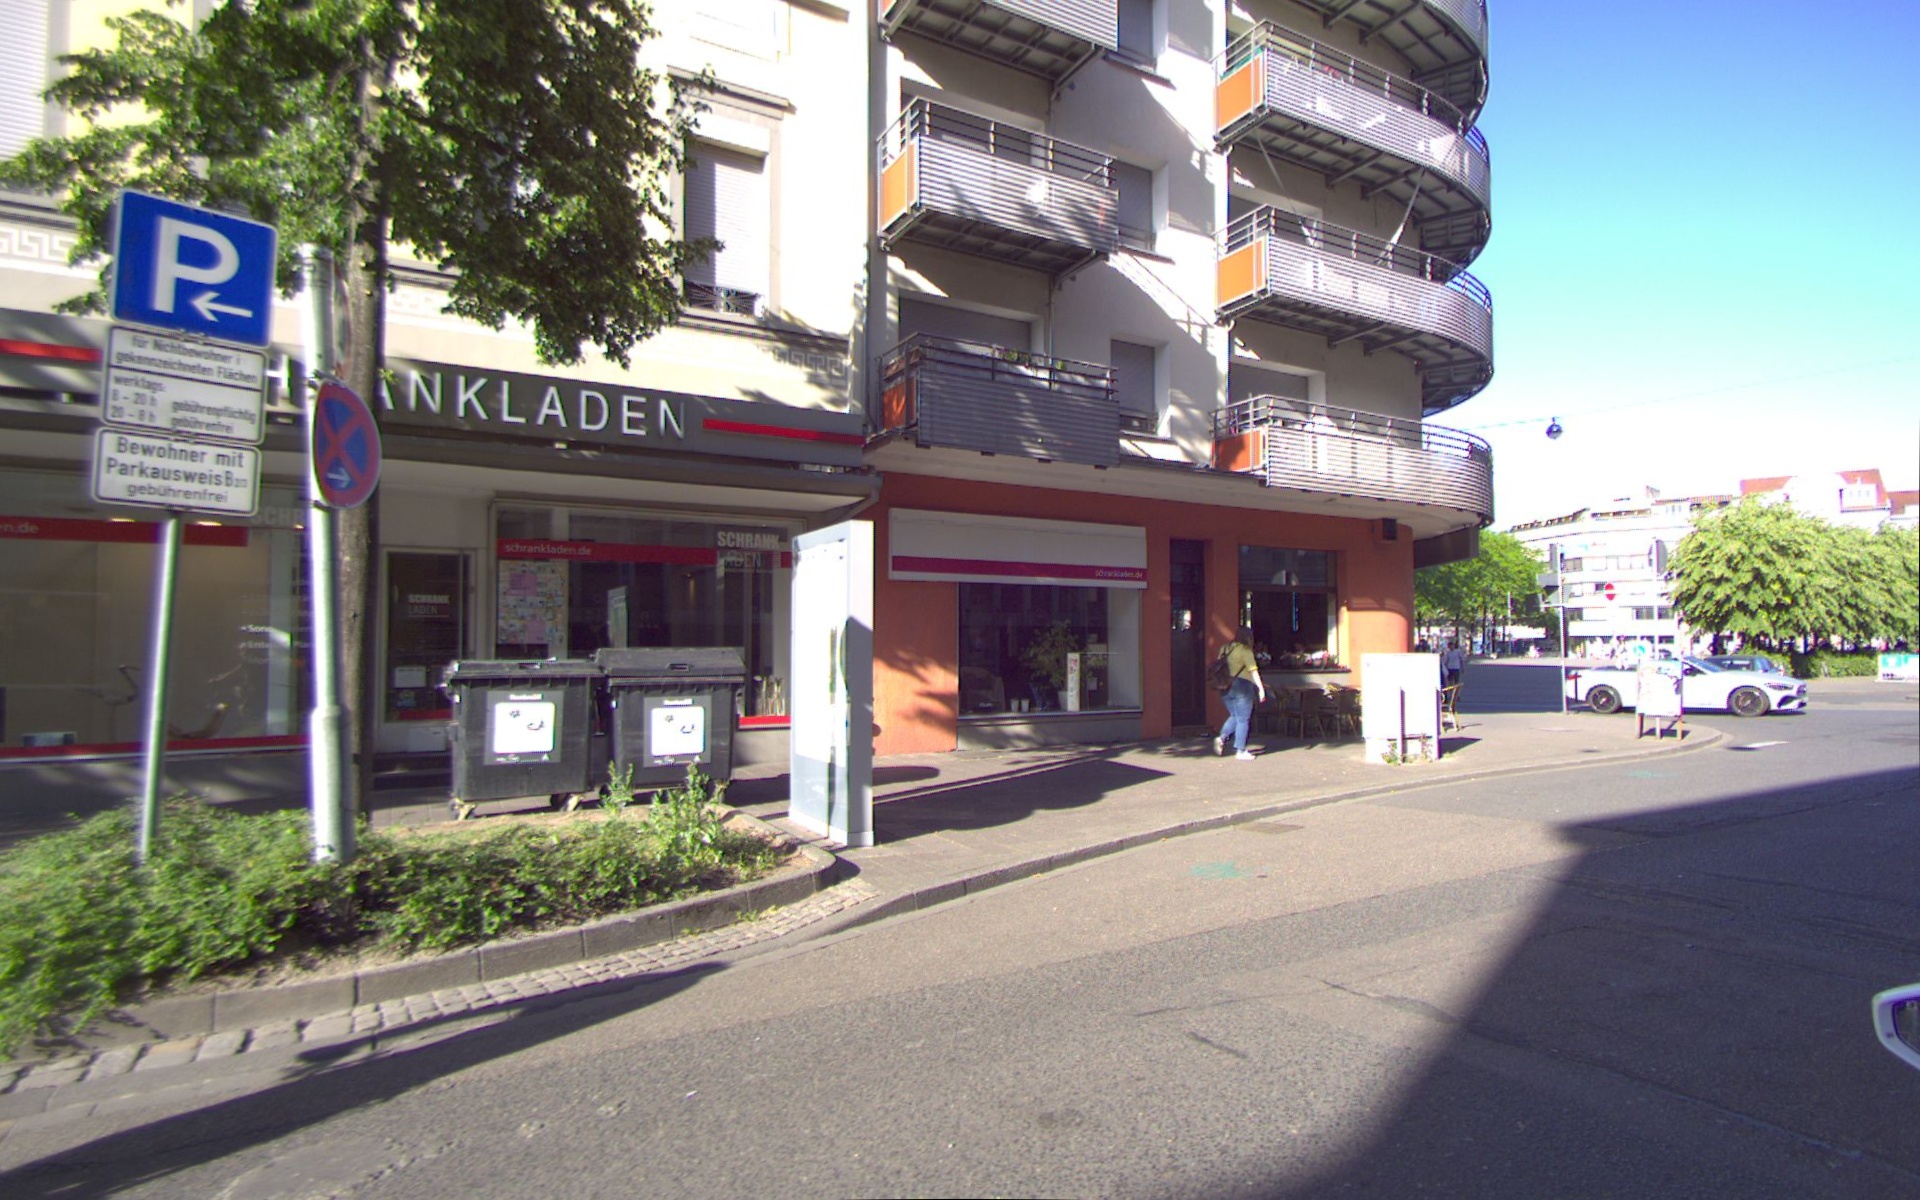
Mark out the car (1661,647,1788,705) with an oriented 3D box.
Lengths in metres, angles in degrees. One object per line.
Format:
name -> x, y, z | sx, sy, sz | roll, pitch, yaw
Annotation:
car -> 22.359, 2.162, 29.337 | 4.495, 1.441, 1.736 | 0, -2, -36

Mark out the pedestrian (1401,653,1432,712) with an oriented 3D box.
pedestrian -> 10.889, 1.956, 23.955 | 0.565, 1.357, 0.699 | -2, -3, 31

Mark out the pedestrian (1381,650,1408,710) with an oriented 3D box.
pedestrian -> 11.498, 2.099, 26.593 | 0.563, 1.555, 0.700 | -1, -3, 19

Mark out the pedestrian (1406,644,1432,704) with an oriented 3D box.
pedestrian -> 12.050, 1.926, 26.399 | 0.531, 1.555, 0.687 | -1, -3, 19

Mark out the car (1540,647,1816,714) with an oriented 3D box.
car -> 17.081, 1.909, 24.159 | 1.985, 1.441, 5.058 | 3, -5, -41

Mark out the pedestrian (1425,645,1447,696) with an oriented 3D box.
pedestrian -> 15.441, 2.293, 32.569 | 0.605, 1.634, 0.582 | -2, -3, 27

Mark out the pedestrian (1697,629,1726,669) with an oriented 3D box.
pedestrian -> 40.481, 2.625, 54.107 | 0.949, 2.135, 0.734 | 0, -2, -7

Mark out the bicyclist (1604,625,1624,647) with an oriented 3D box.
bicyclist -> 52.404, 2.914, 80.524 | 1.199, 1.722, 0.958 | 2, -2, -35

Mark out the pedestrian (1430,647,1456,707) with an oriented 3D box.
pedestrian -> 12.653, 2.006, 26.331 | 0.531, 1.555, 0.553 | -1, -2, 19

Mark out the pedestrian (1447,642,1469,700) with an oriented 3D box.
pedestrian -> 15.990, 2.266, 32.249 | 0.577, 1.851, 0.558 | -2, -3, 27

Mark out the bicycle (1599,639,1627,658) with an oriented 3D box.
bicycle -> 52.317, 3.879, 80.421 | 2.662, 1.523, 0.958 | 2, -3, -35

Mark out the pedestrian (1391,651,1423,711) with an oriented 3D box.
pedestrian -> 10.387, 1.877, 23.318 | 0.565, 1.357, 0.699 | -2, -3, 31

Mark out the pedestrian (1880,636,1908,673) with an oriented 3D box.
pedestrian -> 53.465, 3.112, 57.503 | 0.949, 2.135, 0.734 | 0, -2, -7

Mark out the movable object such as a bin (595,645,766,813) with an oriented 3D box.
movable object such as a bin -> -2.600, 1.137, 9.324 | 1.299, 1.422, 1.037 | 1, -3, -31

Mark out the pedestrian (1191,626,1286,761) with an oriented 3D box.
pedestrian -> 3.639, 1.194, 13.147 | 1.024, 1.681, 0.662 | 1, -3, -31

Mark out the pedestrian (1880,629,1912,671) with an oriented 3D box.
pedestrian -> 48.229, 2.595, 51.778 | 0.949, 2.135, 0.734 | 0, -2, -7

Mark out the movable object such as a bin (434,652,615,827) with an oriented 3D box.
movable object such as a bin -> -3.766, 1.132, 8.669 | 1.299, 1.363, 1.037 | 1, -3, -31
